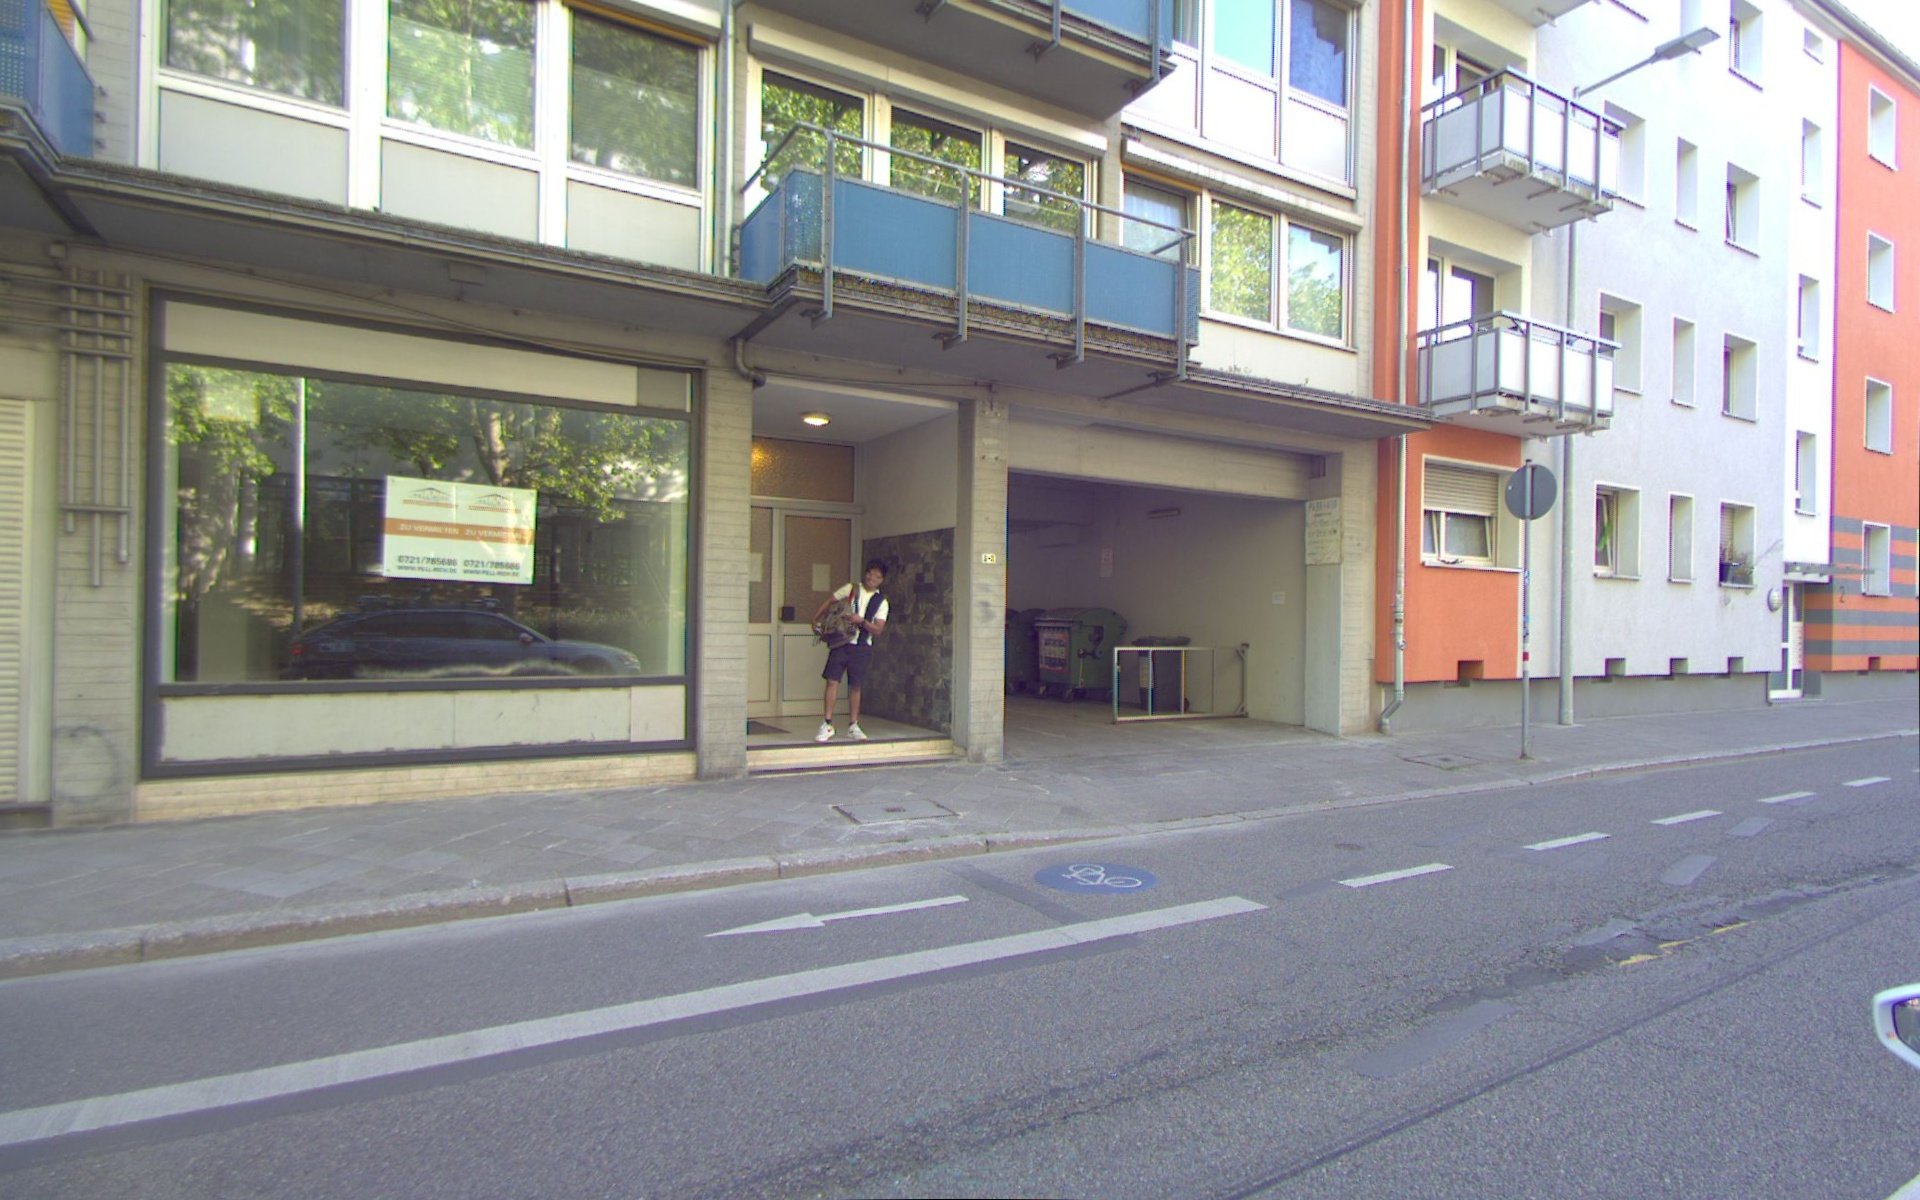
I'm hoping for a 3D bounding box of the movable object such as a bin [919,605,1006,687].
[{"bbox_3d":[0.034,0.844,18.709,1.120,1.444,1.268,2,0,-28],"label":"movable object such as a bin"}]

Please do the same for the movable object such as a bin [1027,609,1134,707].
[{"bbox_3d":[1.878,0.884,15.823,1.120,1.444,1.268,2,0,-28],"label":"movable object such as a bin"}]

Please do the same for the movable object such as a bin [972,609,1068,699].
[{"bbox_3d":[1.011,0.892,17.164,1.120,1.444,1.268,2,0,-28],"label":"movable object such as a bin"}]

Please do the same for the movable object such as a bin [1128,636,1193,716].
[{"bbox_3d":[2.890,1.083,14.498,0.713,1.094,0.533,2,0,-29],"label":"movable object such as a bin"}]

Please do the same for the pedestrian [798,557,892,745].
[{"bbox_3d":[-1.046,0.458,9.274,0.778,1.639,0.836,2,0,-5],"label":"pedestrian"}]

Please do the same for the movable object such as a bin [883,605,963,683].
[{"bbox_3d":[-0.739,0.847,19.799,1.120,1.444,1.268,2,0,-28],"label":"movable object such as a bin"}]
